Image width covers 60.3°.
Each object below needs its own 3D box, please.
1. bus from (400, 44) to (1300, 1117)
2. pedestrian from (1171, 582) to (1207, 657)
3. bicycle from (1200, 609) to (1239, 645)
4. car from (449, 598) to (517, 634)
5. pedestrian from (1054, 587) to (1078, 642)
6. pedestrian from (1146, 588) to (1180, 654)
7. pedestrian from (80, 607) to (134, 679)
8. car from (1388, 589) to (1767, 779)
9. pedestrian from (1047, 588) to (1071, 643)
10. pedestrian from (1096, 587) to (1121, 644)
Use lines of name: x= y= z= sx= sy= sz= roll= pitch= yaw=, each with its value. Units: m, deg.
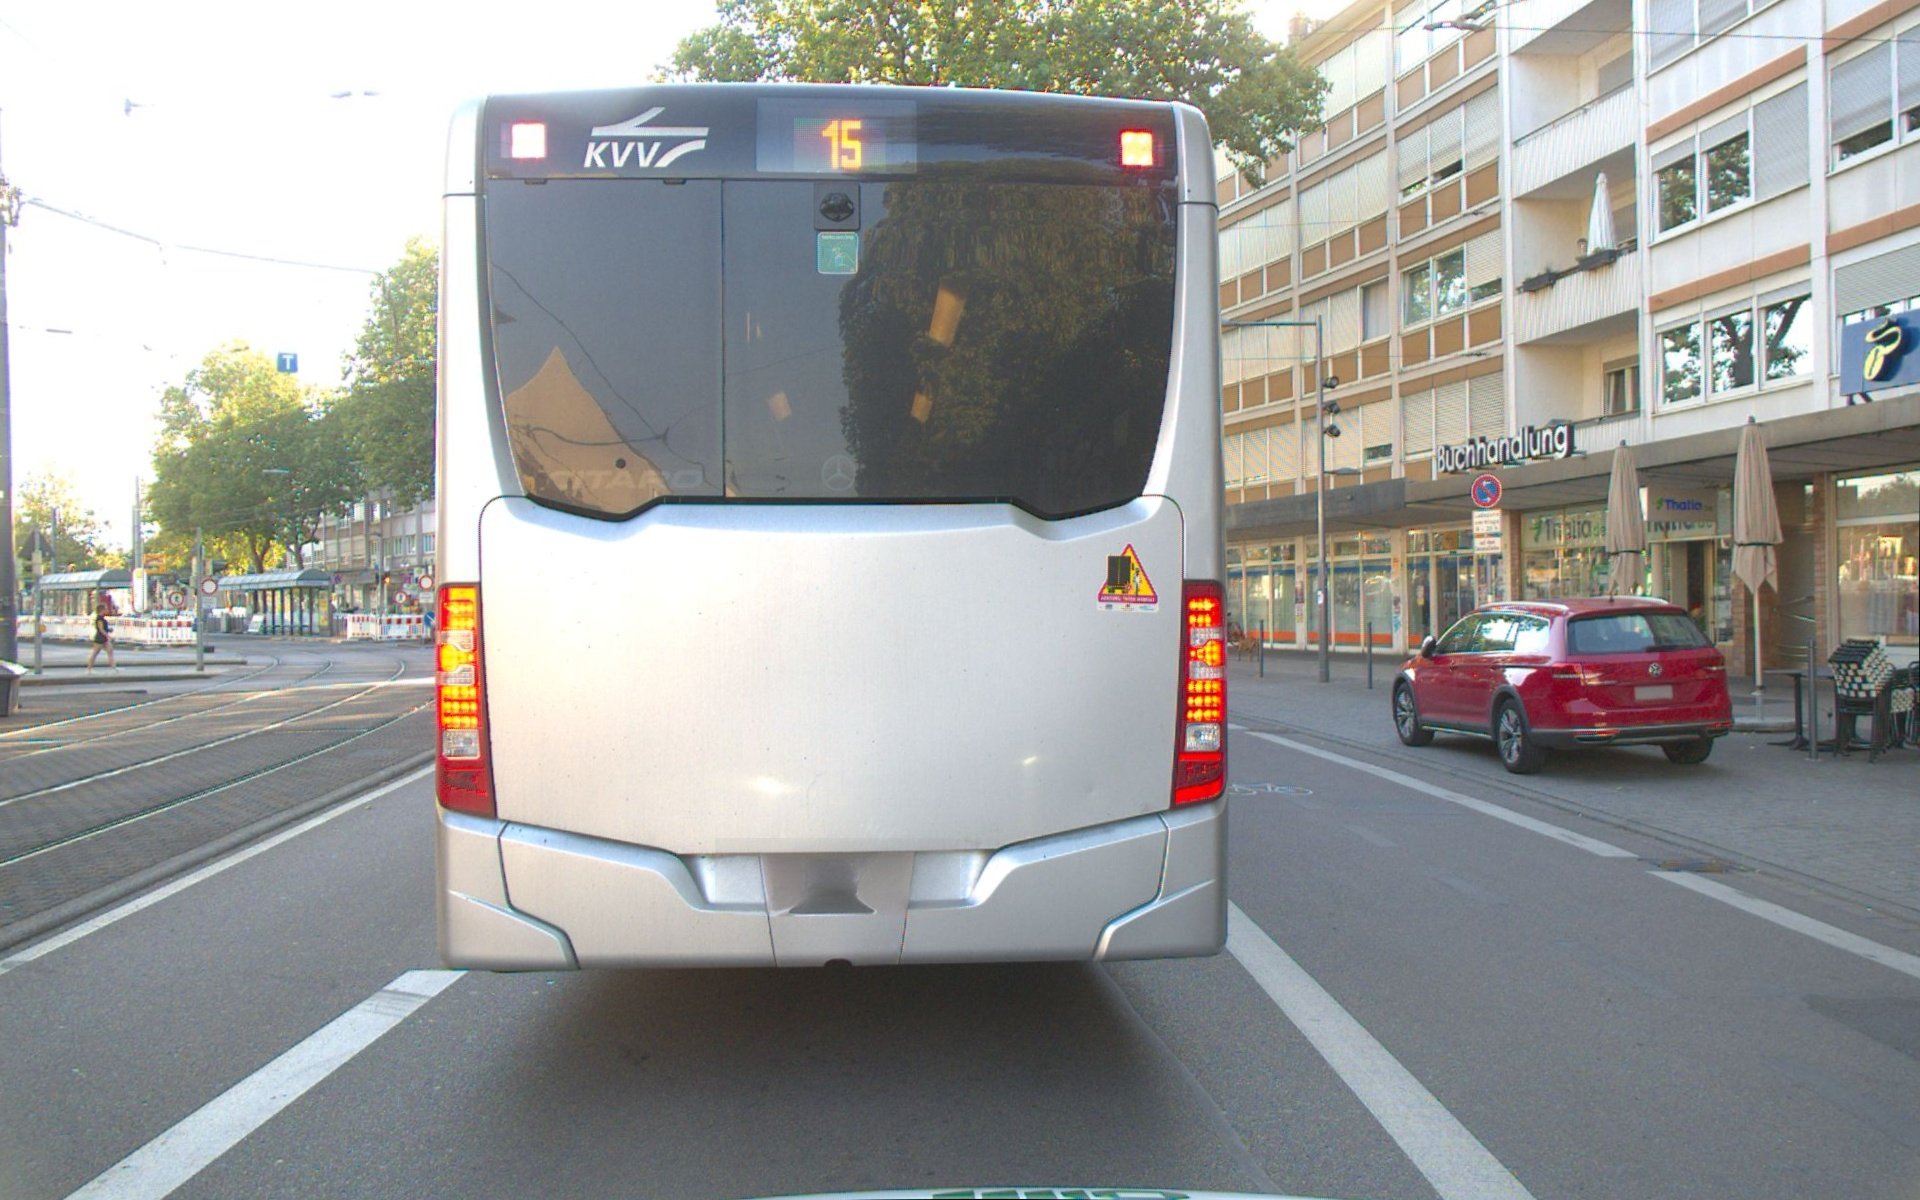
bus: x=-0.386 y=-0.042 z=9.778 sx=2.577 sy=3.081 sz=9.995 roll=0 pitch=0 yaw=-1
pedestrian: x=5.350 y=0.454 z=38.688 sx=0.634 sy=1.747 sz=0.557 roll=-1 pitch=0 yaw=-17
bicycle: x=7.180 y=0.736 z=45.779 sx=0.406 sy=0.961 sz=1.431 roll=-1 pitch=0 yaw=-20
car: x=-25.367 y=0.838 z=87.872 sx=1.982 sy=1.823 sz=3.940 roll=1 pitch=-1 yaw=-41
pedestrian: x=3.289 y=0.441 z=51.436 sx=0.527 sy=1.677 sz=0.612 roll=-1 pitch=0 yaw=-18
pedestrian: x=5.033 y=0.522 z=40.981 sx=0.634 sy=1.609 sz=0.557 roll=-1 pitch=0 yaw=-17
pedestrian: x=-20.402 y=1.027 z=39.560 sx=0.977 sy=1.716 sz=0.642 roll=0 pitch=-2 yaw=-13
car: x=5.707 y=0.695 z=15.923 sx=1.735 sy=1.508 sz=4.299 roll=-2 pitch=0 yaw=-4
pedestrian: x=3.075 y=0.480 z=51.295 sx=0.527 sy=1.677 sz=0.612 roll=-1 pitch=0 yaw=-18
pedestrian: x=4.424 y=0.473 z=49.234 sx=0.527 sy=1.677 sz=0.612 roll=-1 pitch=0 yaw=-18
